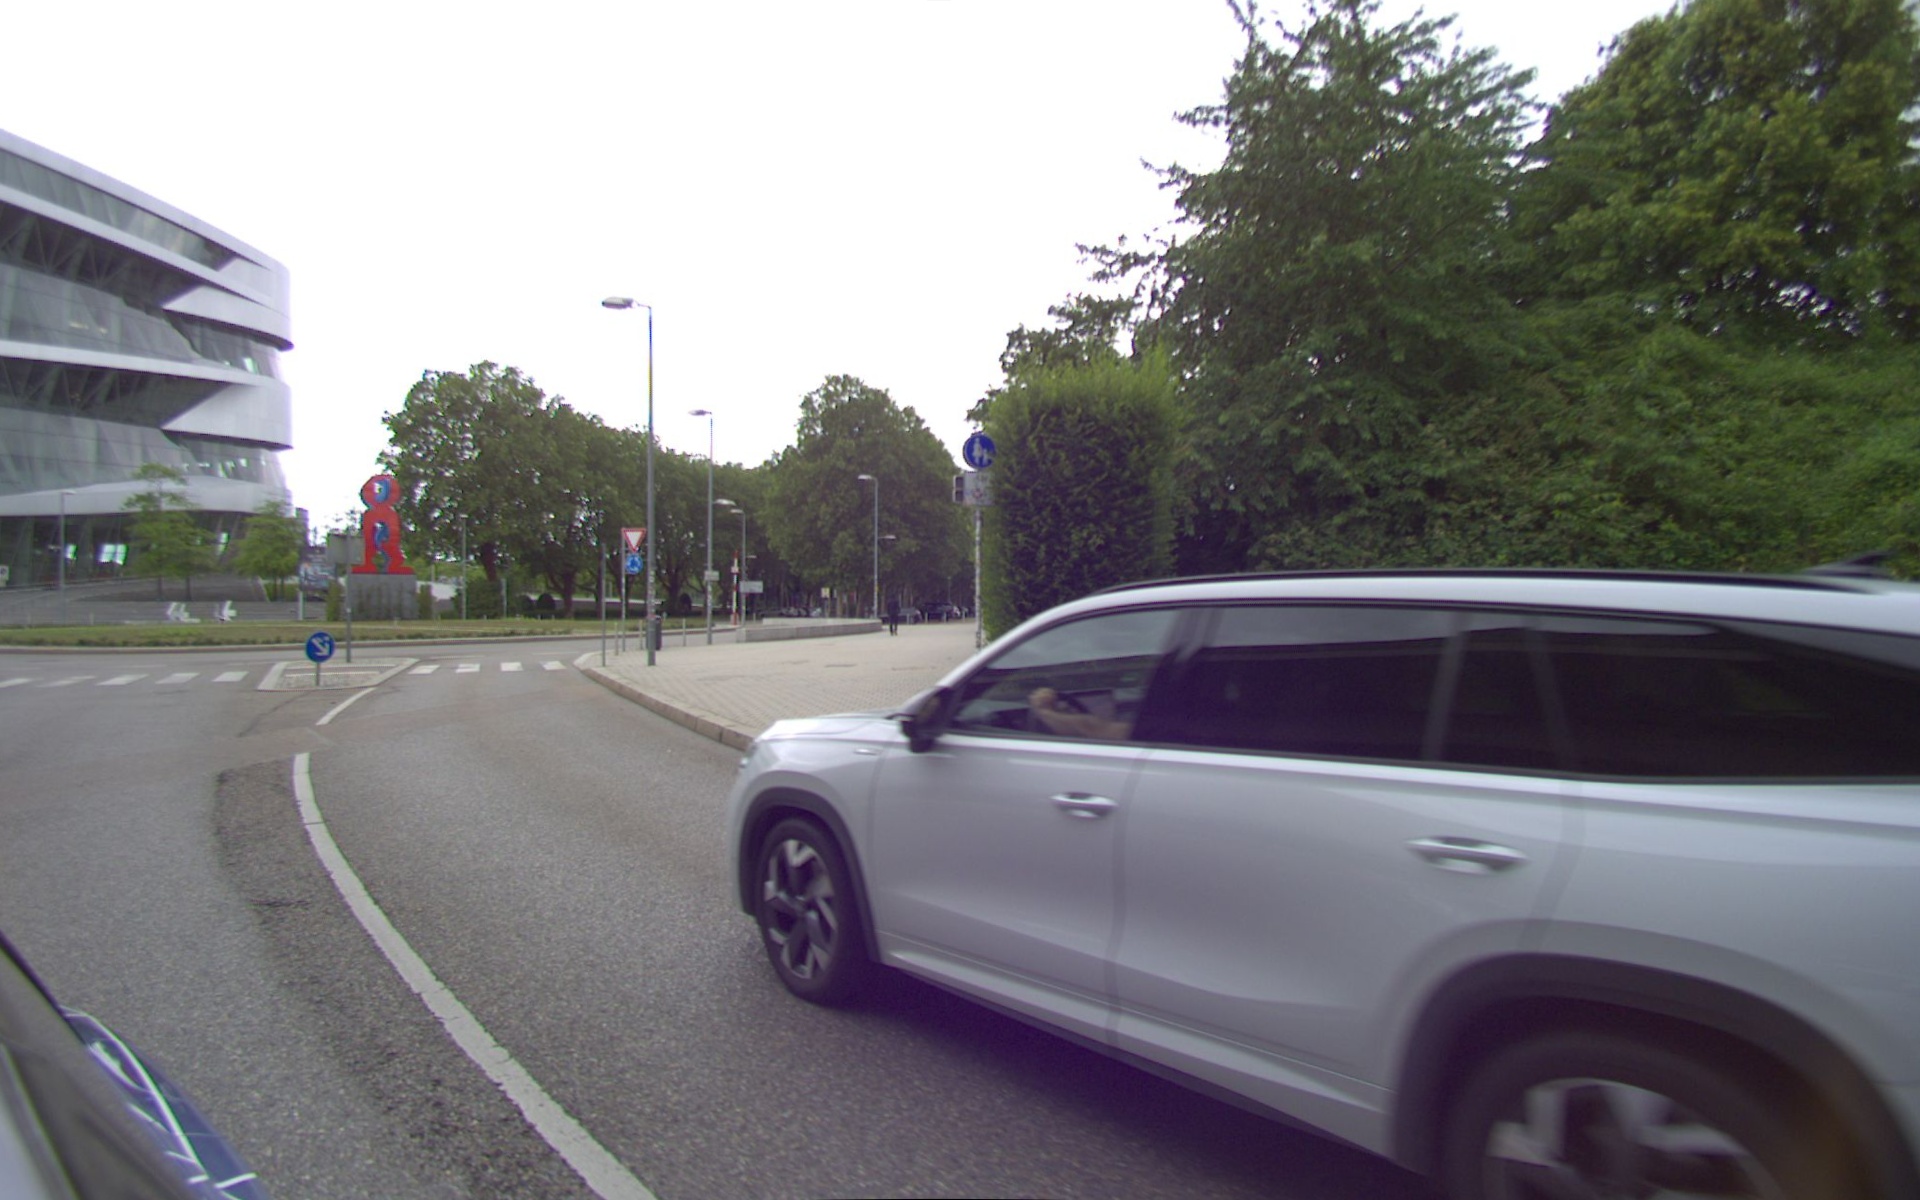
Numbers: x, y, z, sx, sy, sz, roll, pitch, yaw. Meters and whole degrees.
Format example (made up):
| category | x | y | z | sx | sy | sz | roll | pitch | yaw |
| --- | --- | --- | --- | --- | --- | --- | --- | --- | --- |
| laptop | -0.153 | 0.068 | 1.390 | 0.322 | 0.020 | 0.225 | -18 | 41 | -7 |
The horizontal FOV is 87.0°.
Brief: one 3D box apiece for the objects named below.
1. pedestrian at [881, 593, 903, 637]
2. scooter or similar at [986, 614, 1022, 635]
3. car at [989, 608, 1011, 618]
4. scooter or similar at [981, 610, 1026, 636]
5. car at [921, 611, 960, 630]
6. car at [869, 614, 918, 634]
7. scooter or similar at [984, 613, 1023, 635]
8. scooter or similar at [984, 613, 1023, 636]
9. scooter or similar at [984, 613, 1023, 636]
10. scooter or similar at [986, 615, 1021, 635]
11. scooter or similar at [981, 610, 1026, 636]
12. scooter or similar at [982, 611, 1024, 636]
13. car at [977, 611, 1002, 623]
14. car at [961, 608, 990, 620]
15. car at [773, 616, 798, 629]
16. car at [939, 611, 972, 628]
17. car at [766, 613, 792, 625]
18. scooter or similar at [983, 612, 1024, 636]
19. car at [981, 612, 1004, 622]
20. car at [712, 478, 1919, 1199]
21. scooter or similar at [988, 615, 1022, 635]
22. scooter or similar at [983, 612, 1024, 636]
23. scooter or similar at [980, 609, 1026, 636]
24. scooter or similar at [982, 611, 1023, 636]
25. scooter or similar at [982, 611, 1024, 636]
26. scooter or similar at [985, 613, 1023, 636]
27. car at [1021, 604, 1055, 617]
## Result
| category | x | y | z | sx | sy | sz | roll | pitch | yaw |
| --- | --- | --- | --- | --- | --- | --- | --- | --- | --- |
| pedestrian | -2.889 | 0.644 | 43.212 | 0.783 | 1.821 | 0.864 | -1 | -2 | 5 |
| scooter or similar | 2.393 | 1.352 | 55.182 | 1.950 | 1.117 | 0.640 | -1 | -2 | 3 |
| car | 8.422 | 2.761 | 212.346 | 4.375 | 1.830 | 1.796 | -1 | -2 | 0 |
| scooter or similar | 1.958 | 1.039 | 45.478 | 1.950 | 1.117 | 0.640 | -1 | -2 | 3 |
| car | -1.947 | 2.015 | 100.199 | 3.667 | 1.791 | 1.666 | -1 | -2 | 7 |
| car | -5.389 | 1.934 | 82.415 | 3.777 | 1.536 | 1.777 | -1 | -2 | 5 |
| scooter or similar | 2.203 | 1.233 | 51.685 | 1.950 | 1.117 | 0.640 | -1 | -2 | 3 |
| scooter or similar | 2.184 | 1.214 | 50.828 | 1.950 | 1.117 | 0.640 | -1 | -2 | 3 |
| scooter or similar | 2.250 | 1.261 | 52.359 | 1.950 | 1.117 | 0.640 | -1 | -2 | 3 |
| scooter or similar | 2.438 | 1.400 | 56.630 | 1.950 | 1.117 | 0.640 | -1 | -2 | 3 |
| scooter or similar | 1.925 | 1.016 | 44.676 | 1.950 | 1.117 | 0.640 | -1 | -2 | 3 |
| scooter or similar | 1.998 | 1.087 | 46.975 | 1.950 | 1.117 | 0.640 | -1 | -2 | 3 |
| car | 5.120 | 2.993 | 175.252 | 4.379 | 1.891 | 1.795 | -1 | -2 | 4 |
| car | 2.397 | 2.133 | 155.929 | 4.375 | 1.746 | 1.796 | -1 | -2 | 0 |
| car | -25.809 | 3.293 | 149.717 | 3.417 | 1.863 | 1.680 | 0 | -1 | 15 |
| car | -0.494 | 2.158 | 113.323 | 3.660 | 1.791 | 1.670 | -1 | -2 | 0 |
| car | -25.986 | 2.700 | 145.550 | 3.405 | 1.697 | 1.686 | 0 | -1 | 4 |
| scooter or similar | 2.100 | 1.155 | 49.151 | 1.950 | 1.117 | 0.640 | -1 | -2 | 3 |
| car | 6.202 | 3.270 | 194.982 | 4.379 | 1.891 | 1.795 | -1 | -2 | 4 |
| car | 1.189 | 0.713 | 3.288 | 4.407 | 1.696 | 1.843 | -3 | -3 | 45 |
| scooter or similar | 2.610 | 1.450 | 58.345 | 1.950 | 1.117 | 0.640 | -1 | -2 | 3 |
| scooter or similar | 2.148 | 1.182 | 49.958 | 1.950 | 1.117 | 0.640 | -1 | -2 | 3 |
| scooter or similar | 1.878 | 0.984 | 43.834 | 1.950 | 1.117 | 0.640 | -1 | -2 | 3 |
| scooter or similar | 2.035 | 1.132 | 48.386 | 1.950 | 1.117 | 0.640 | -1 | -2 | 3 |
| scooter or similar | 2.018 | 1.101 | 47.677 | 1.950 | 1.117 | 0.640 | -1 | -2 | 3 |
| scooter or similar | 2.290 | 1.285 | 53.037 | 1.950 | 1.117 | 0.640 | -1 | -2 | 3 |
| car | 10.235 | 1.388 | 133.018 | 4.379 | 1.664 | 1.795 | -1 | -2 | 4 |
